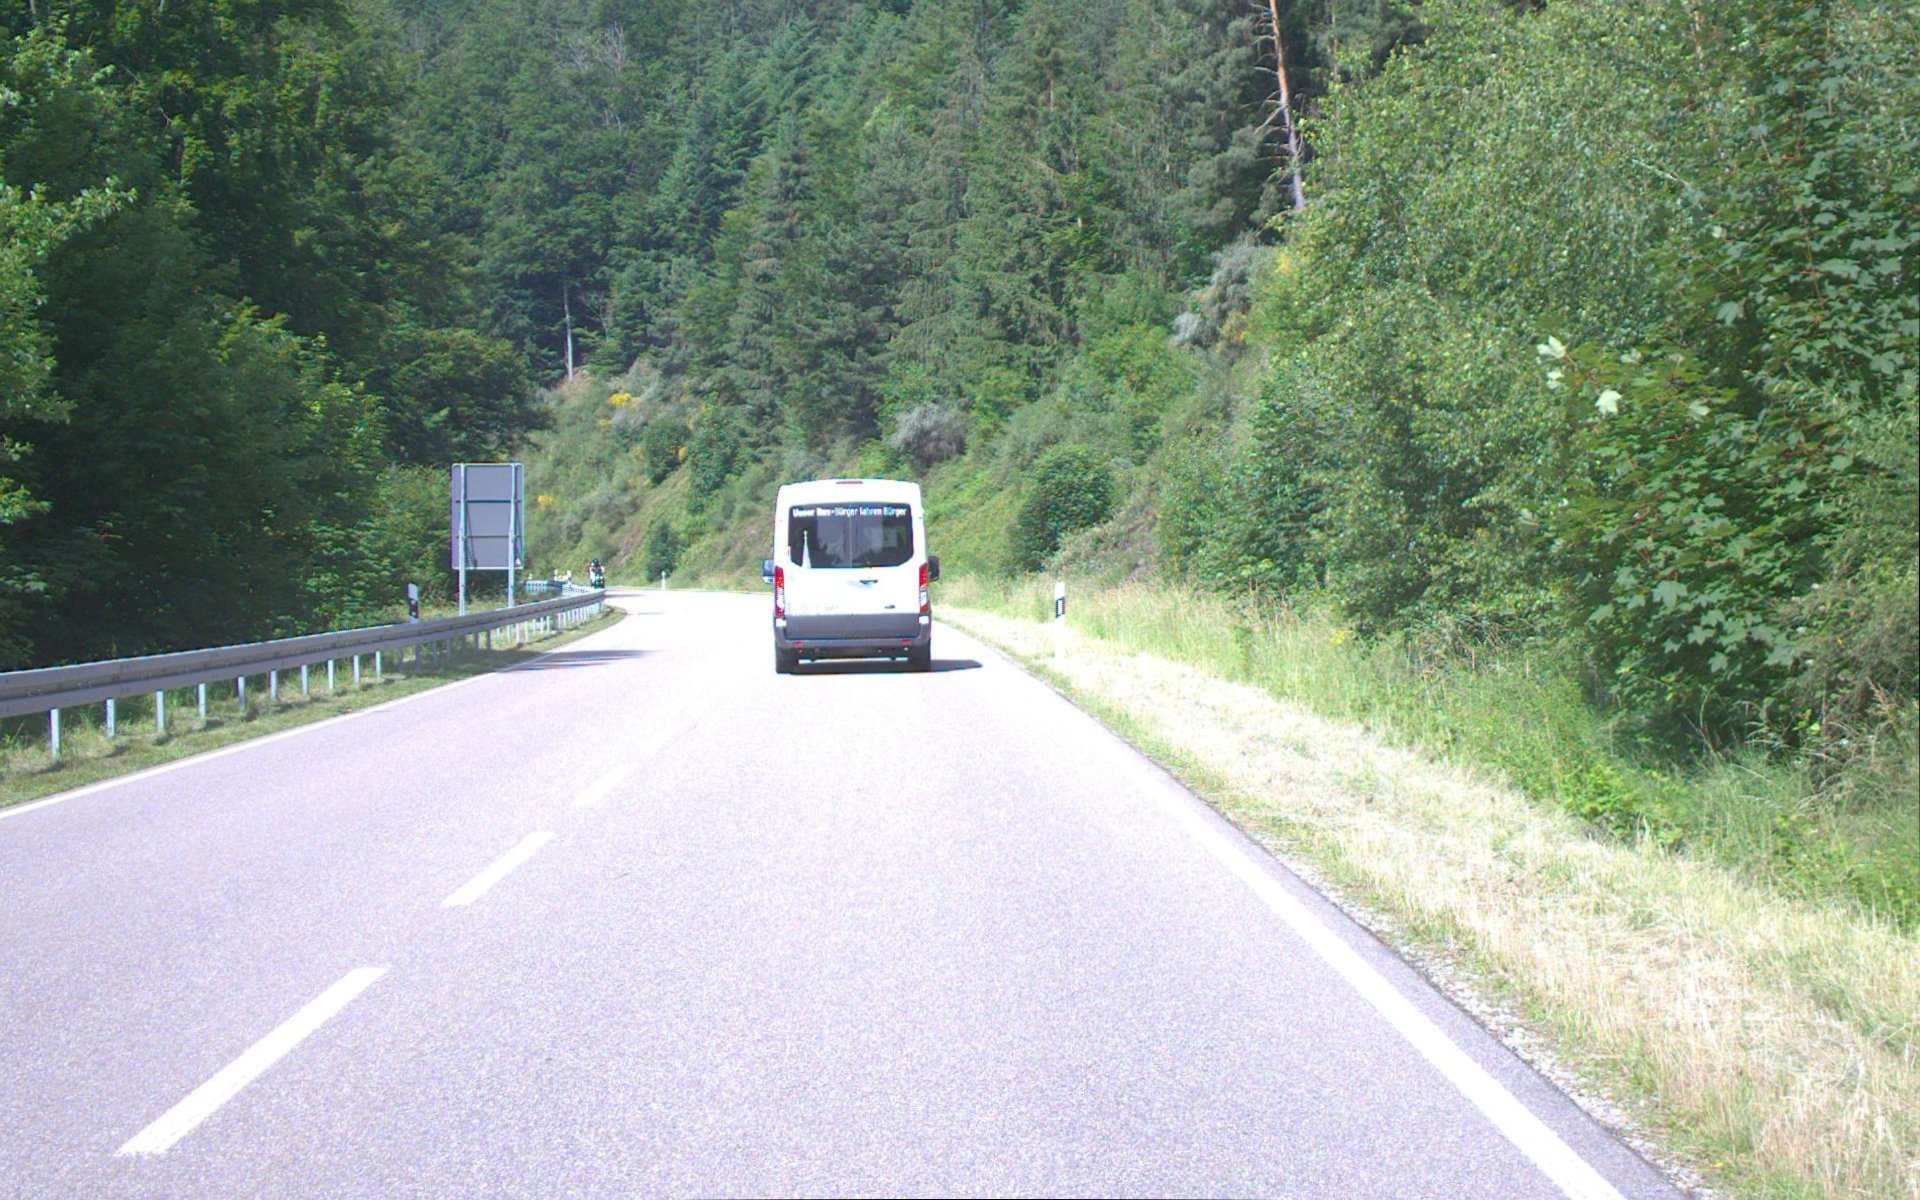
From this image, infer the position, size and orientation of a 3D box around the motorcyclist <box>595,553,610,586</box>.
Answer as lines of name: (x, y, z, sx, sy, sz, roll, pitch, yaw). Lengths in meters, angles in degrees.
motorcyclist: (-17.000, -1.454, 163.581, 0.658, 1.508, 0.934, -2, 1, -4)

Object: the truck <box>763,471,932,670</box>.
truck: (-1.488, -0.396, 45.249, 2.083, 2.451, 4.875, -1, 1, -2)
